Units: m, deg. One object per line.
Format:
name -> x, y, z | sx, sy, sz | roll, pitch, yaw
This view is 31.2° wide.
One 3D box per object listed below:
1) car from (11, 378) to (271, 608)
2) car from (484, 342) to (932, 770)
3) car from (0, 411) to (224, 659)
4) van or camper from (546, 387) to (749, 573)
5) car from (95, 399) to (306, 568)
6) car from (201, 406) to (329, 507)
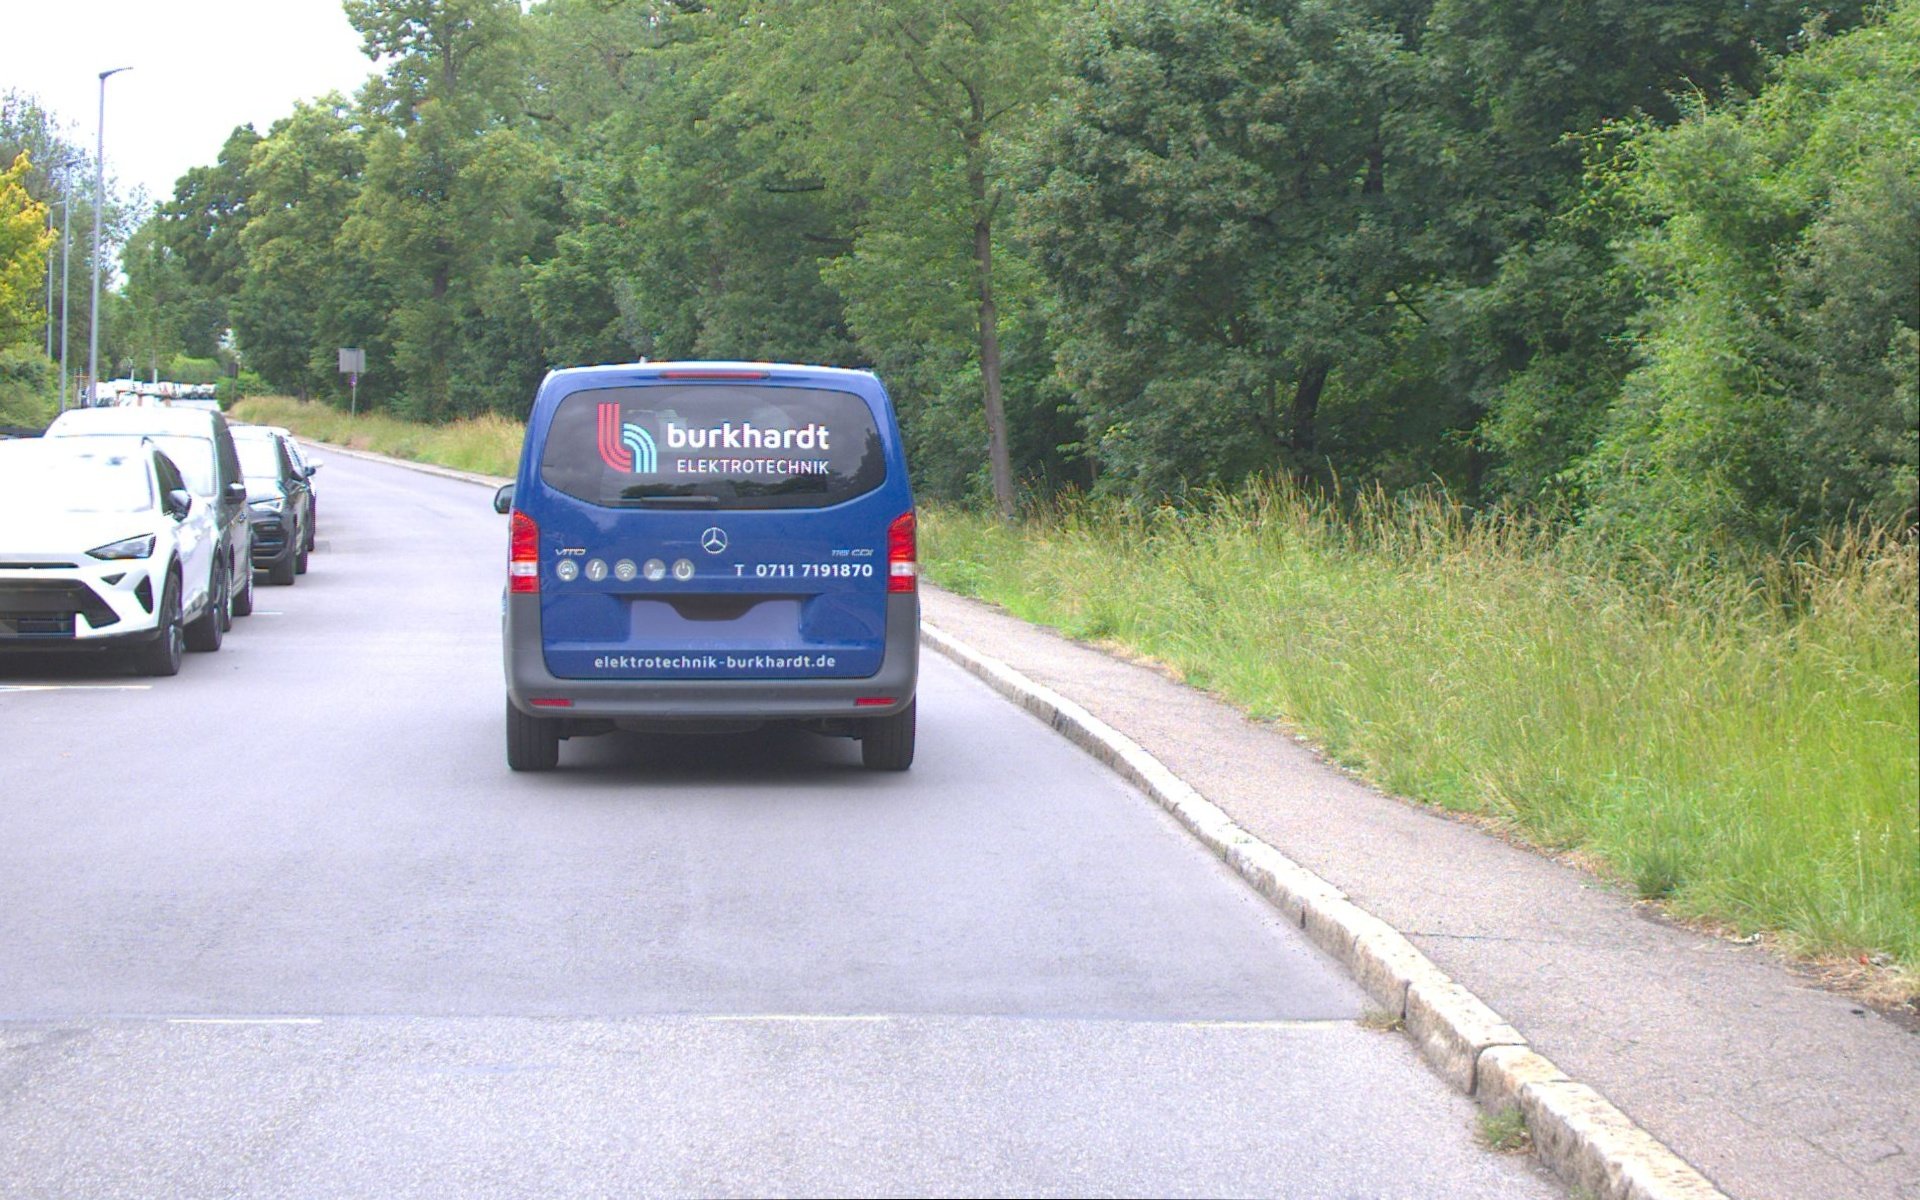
car -> -6.741, -0.919, 28.671 | 1.743, 1.758, 4.415 | 0, 3, -9
car -> -1.266, -0.299, 16.904 | 1.913, 1.831, 4.295 | 0, 3, -5
car -> -6.023, -0.497, 22.984 | 1.724, 1.487, 4.415 | 1, 2, -7
van or camper -> -3.624, -1.424, 39.088 | 2.019, 1.950, 4.898 | 0, 4, -8
car -> -8.029, -1.272, 36.660 | 1.815, 1.610, 4.225 | 3, 2, -8
car -> -10.217, -2.141, 50.715 | 1.607, 1.337, 3.857 | 3, 3, -9
